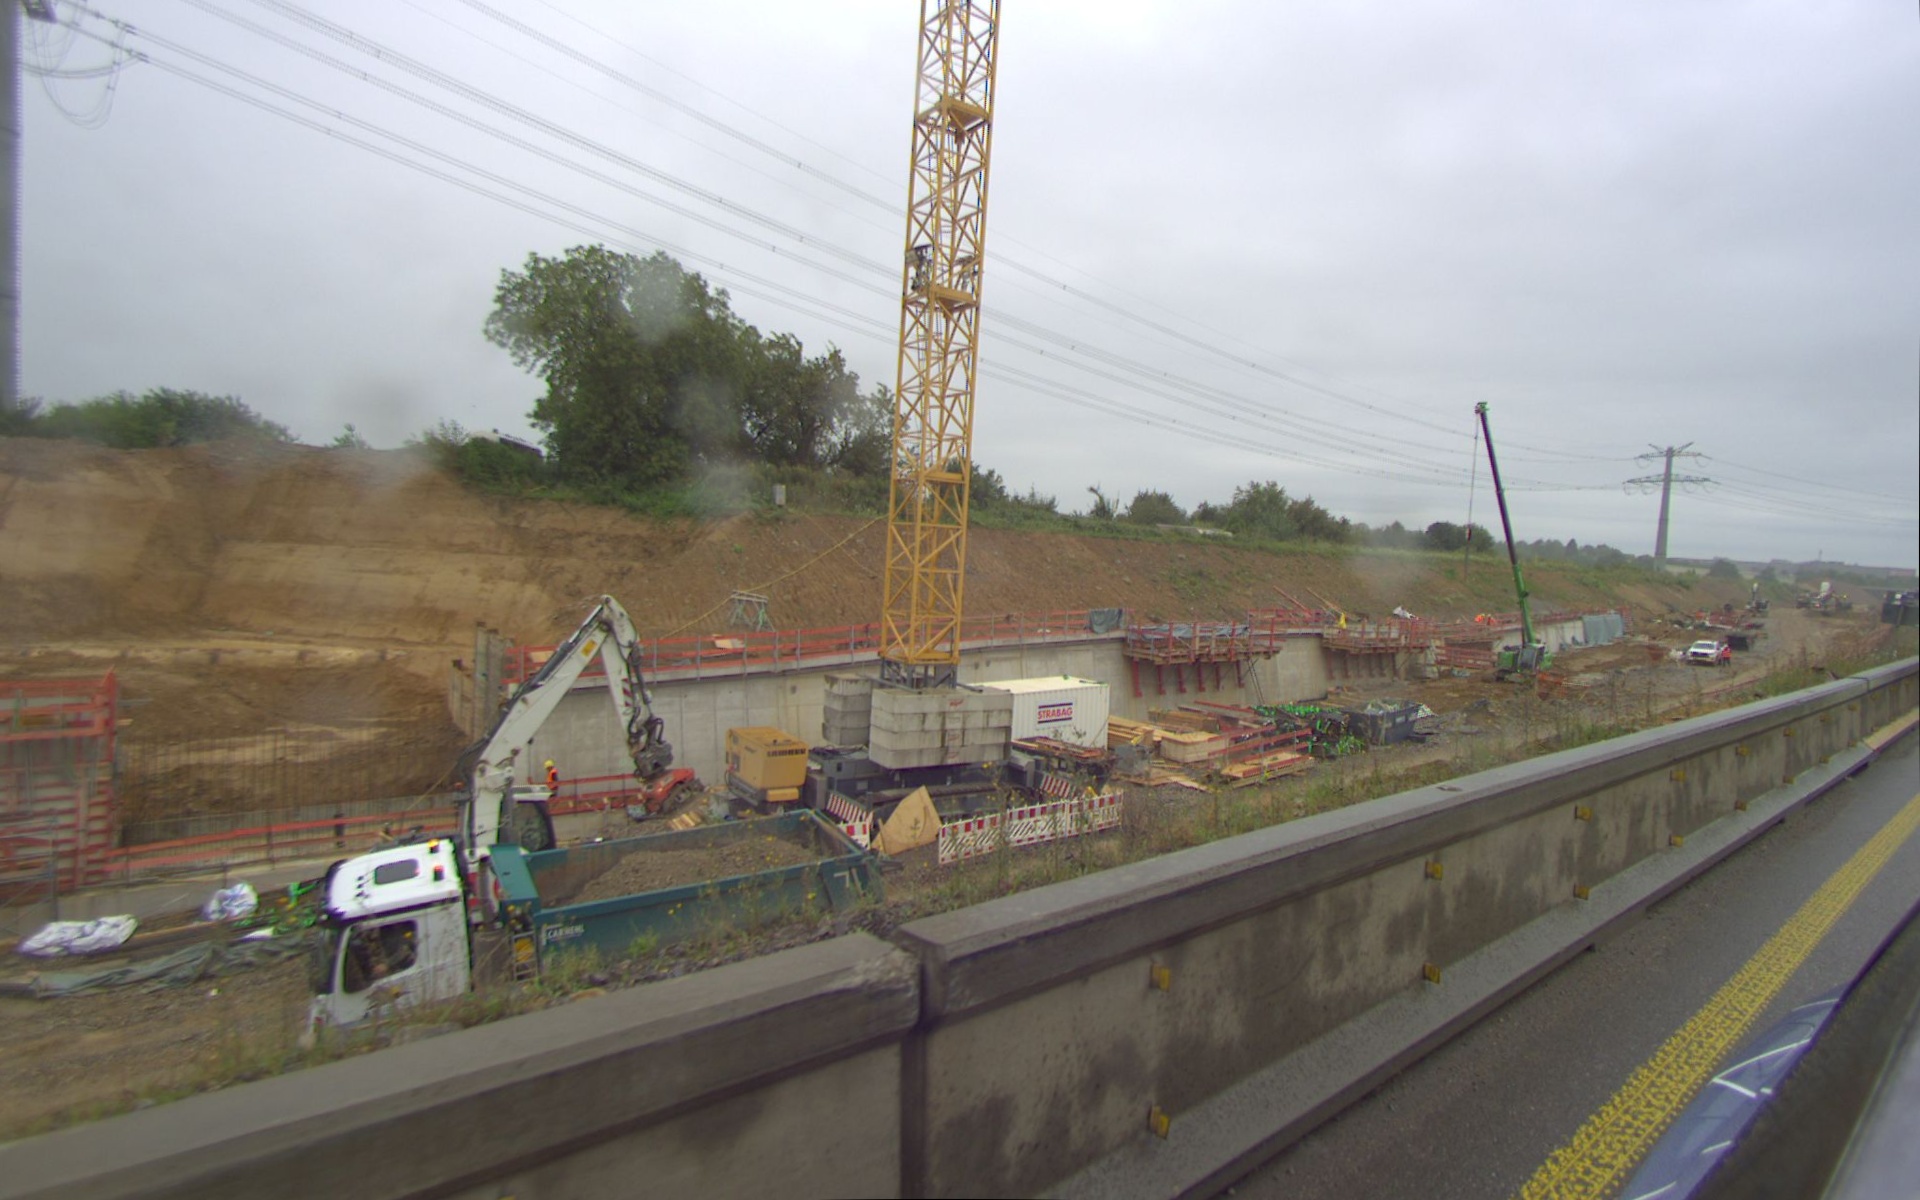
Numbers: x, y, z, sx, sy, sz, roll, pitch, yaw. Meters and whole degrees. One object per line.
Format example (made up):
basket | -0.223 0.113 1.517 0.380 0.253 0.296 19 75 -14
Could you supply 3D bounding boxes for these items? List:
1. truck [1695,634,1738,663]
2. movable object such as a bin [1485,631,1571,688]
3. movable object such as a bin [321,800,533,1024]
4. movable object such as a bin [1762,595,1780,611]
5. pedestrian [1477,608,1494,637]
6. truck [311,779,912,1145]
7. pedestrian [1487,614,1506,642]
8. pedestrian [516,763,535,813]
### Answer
truck | 59.128 3.730 79.055 5.692 1.894 1.764 -1 3 -45
movable object such as a bin | 37.064 3.801 65.966 3.794 2.836 4.781 2 7 45
movable object such as a bin | -9.979 5.581 18.884 2.916 2.772 3.156 0 1 -40
movable object such as a bin | 139.173 0.472 173.615 2.245 2.753 3.939 1 1 42
pedestrian | 43.768 1.868 84.244 0.914 2.275 0.991 -5 -3 42
truck | -5.313 5.337 16.571 8.767 3.547 2.712 0 1 -29
pedestrian | 43.732 2.288 82.445 0.988 2.260 0.916 -1 -3 -41
pedestrian | -13.426 5.809 31.260 0.392 1.455 0.424 0 -8 -37
